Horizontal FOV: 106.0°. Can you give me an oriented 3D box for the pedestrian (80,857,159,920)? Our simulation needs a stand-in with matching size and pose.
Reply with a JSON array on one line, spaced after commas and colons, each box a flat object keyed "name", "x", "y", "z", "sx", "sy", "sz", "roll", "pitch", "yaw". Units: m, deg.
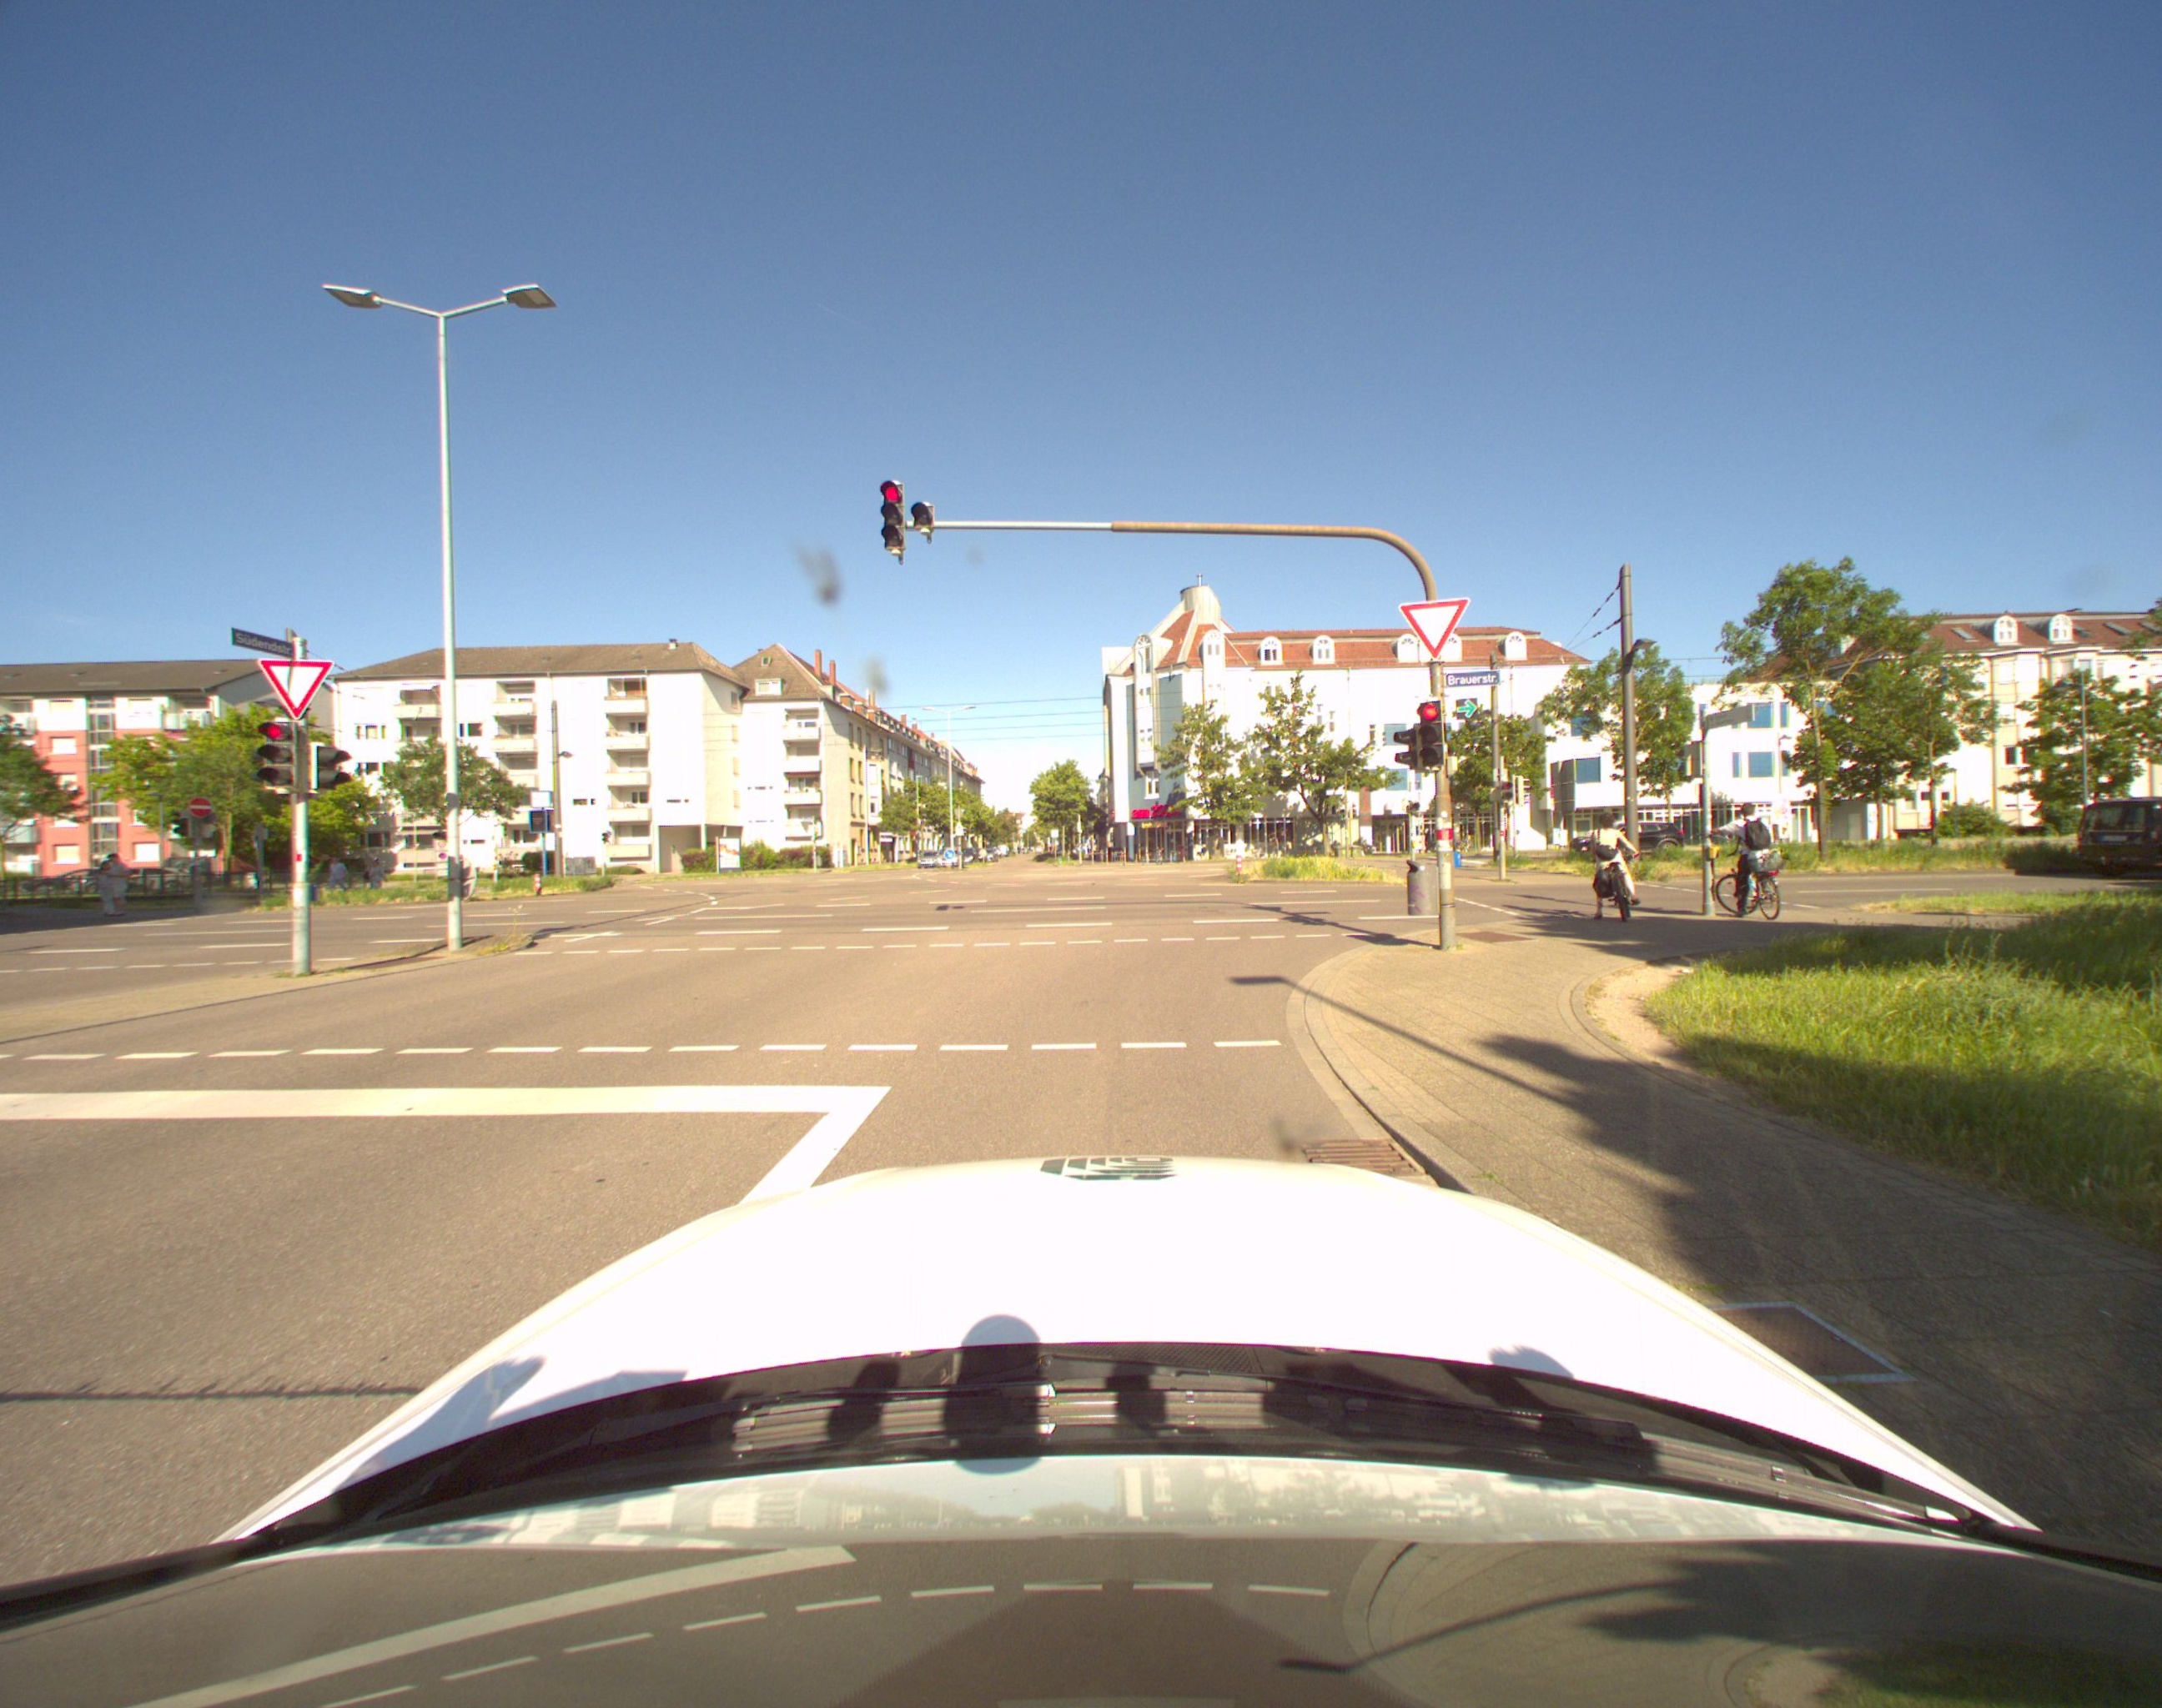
[{"name": "pedestrian", "x": -28.652, "y": 1.009, "z": 24.294, "sx": 0.919, "sy": 1.770, "sz": 1.152, "roll": -2, "pitch": 0, "yaw": -4}]

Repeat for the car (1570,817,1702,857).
[{"name": "car", "x": 24.748, "y": -0.745, "z": 36.470, "sx": 4.473, "sy": 1.609, "sz": 2.006, "roll": -2, "pitch": 0, "yaw": 9}]

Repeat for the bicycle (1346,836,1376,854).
[{"name": "bicycle", "x": 19.177, "y": -0.632, "z": 55.800, "sx": 1.860, "sy": 1.182, "sz": 0.561, "roll": -2, "pitch": 0, "yaw": -4}]

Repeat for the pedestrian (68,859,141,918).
[{"name": "pedestrian", "x": -30.077, "y": 1.045, "z": 25.105, "sx": 0.809, "sy": 1.726, "sz": 1.152, "roll": -2, "pitch": 0, "yaw": -4}]

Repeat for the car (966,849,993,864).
[{"name": "car", "x": -9.530, "y": 0.222, "z": 76.726, "sx": 1.681, "sy": 1.432, "sz": 4.403, "roll": 1, "pitch": 0, "yaw": 3}]

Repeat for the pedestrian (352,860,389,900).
[{"name": "pedestrian", "x": -28.897, "y": 1.046, "z": 33.138, "sx": 0.723, "sy": 1.533, "sz": 0.857, "roll": -2, "pitch": 0, "yaw": -4}]

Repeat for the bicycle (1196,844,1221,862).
[{"name": "bicycle", "x": 8.079, "y": -0.066, "z": 51.629, "sx": 1.501, "sy": 1.027, "sz": 0.474, "roll": -2, "pitch": 0, "yaw": 11}]

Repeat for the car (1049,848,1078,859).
[{"name": "car", "x": -2.203, "y": -0.067, "z": 102.637, "sx": 3.565, "sy": 1.223, "sz": 1.726, "roll": -1, "pitch": -1, "yaw": -8}]

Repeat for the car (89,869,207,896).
[{"name": "car", "x": -54.206, "y": 1.615, "z": 47.373, "sx": 1.672, "sy": 1.432, "sz": 4.427, "roll": 1, "pitch": 0, "yaw": 39}]

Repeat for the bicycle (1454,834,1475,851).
[{"name": "bicycle", "x": 26.758, "y": -0.792, "z": 56.857, "sx": 0.558, "sy": 1.182, "sz": 1.871, "roll": -2, "pitch": 1, "yaw": 2}]

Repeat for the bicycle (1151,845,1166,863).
[{"name": "bicycle", "x": 4.716, "y": 0.006, "z": 49.373, "sx": 0.471, "sy": 1.027, "sz": 1.511, "roll": -2, "pitch": 0, "yaw": -10}]

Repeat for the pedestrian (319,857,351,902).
[{"name": "pedestrian", "x": -29.843, "y": 1.009, "z": 32.575, "sx": 1.139, "sy": 1.726, "sz": 0.818, "roll": -2, "pitch": 0, "yaw": 42}]

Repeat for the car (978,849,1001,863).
[{"name": "car", "x": -9.595, "y": 0.181, "z": 85.964, "sx": 1.681, "sy": 1.432, "sz": 4.403, "roll": 1, "pitch": 0, "yaw": 3}]

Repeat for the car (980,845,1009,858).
[{"name": "car", "x": -14.142, "y": -0.392, "z": 133.545, "sx": 4.494, "sy": 2.014, "sz": 1.998, "roll": -1, "pitch": -1, "yaw": -3}]

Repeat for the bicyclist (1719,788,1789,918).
[{"name": "bicyclist", "x": 10.663, "y": -0.025, "z": 12.930, "sx": 0.782, "sy": 1.959, "sz": 1.017, "roll": -2, "pitch": 0, "yaw": 38}]

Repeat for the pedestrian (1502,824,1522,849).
[{"name": "pedestrian", "x": 30.423, "y": -1.260, "z": 57.498, "sx": 0.987, "sy": 1.723, "sz": 0.654, "roll": -2, "pitch": 0, "yaw": -1}]

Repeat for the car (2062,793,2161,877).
[{"name": "car", "x": 25.365, "y": -0.378, "z": 18.164, "sx": 4.458, "sy": 1.800, "sz": 1.768, "roll": 1, "pitch": 0, "yaw": 7}]

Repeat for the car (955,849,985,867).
[{"name": "car", "x": -9.588, "y": 0.336, "z": 70.651, "sx": 1.680, "sy": 1.432, "sz": 4.405, "roll": 1, "pitch": 0, "yaw": 5}]

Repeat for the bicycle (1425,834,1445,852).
[{"name": "bicycle", "x": 24.895, "y": -0.770, "z": 57.276, "sx": 0.558, "sy": 1.182, "sz": 1.869, "roll": -2, "pitch": 0, "yaw": -1}]

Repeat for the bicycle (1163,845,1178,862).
[{"name": "bicycle", "x": 5.492, "y": -0.032, "z": 49.892, "sx": 0.472, "sy": 1.027, "sz": 1.510, "roll": -2, "pitch": 0, "yaw": -11}]

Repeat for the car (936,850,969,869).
[{"name": "car", "x": -10.076, "y": 0.418, "z": 64.131, "sx": 1.681, "sy": 1.432, "sz": 4.403, "roll": 1, "pitch": 0, "yaw": 3}]

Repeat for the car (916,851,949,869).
[{"name": "car", "x": -12.240, "y": 0.466, "z": 67.319, "sx": 1.681, "sy": 1.432, "sz": 4.403, "roll": 1, "pitch": 0, "yaw": 3}]

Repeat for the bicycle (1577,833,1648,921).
[{"name": "bicycle", "x": 8.957, "y": 0.345, "z": 13.687, "sx": 0.782, "sy": 1.347, "sz": 2.092, "roll": -2, "pitch": 0, "yaw": 38}]

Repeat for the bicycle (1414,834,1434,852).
[{"name": "bicycle", "x": 23.994, "y": -0.773, "z": 56.967, "sx": 0.558, "sy": 1.182, "sz": 1.869, "roll": -2, "pitch": 0, "yaw": -1}]

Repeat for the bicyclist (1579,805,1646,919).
[{"name": "bicyclist", "x": 8.902, "y": 0.119, "z": 13.624, "sx": 0.782, "sy": 1.824, "sz": 1.143, "roll": -2, "pitch": 0, "yaw": 38}]

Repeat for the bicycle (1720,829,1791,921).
[{"name": "bicycle", "x": 10.825, "y": 0.294, "z": 13.120, "sx": 0.782, "sy": 1.347, "sz": 2.277, "roll": -2, "pitch": 0, "yaw": 38}]
